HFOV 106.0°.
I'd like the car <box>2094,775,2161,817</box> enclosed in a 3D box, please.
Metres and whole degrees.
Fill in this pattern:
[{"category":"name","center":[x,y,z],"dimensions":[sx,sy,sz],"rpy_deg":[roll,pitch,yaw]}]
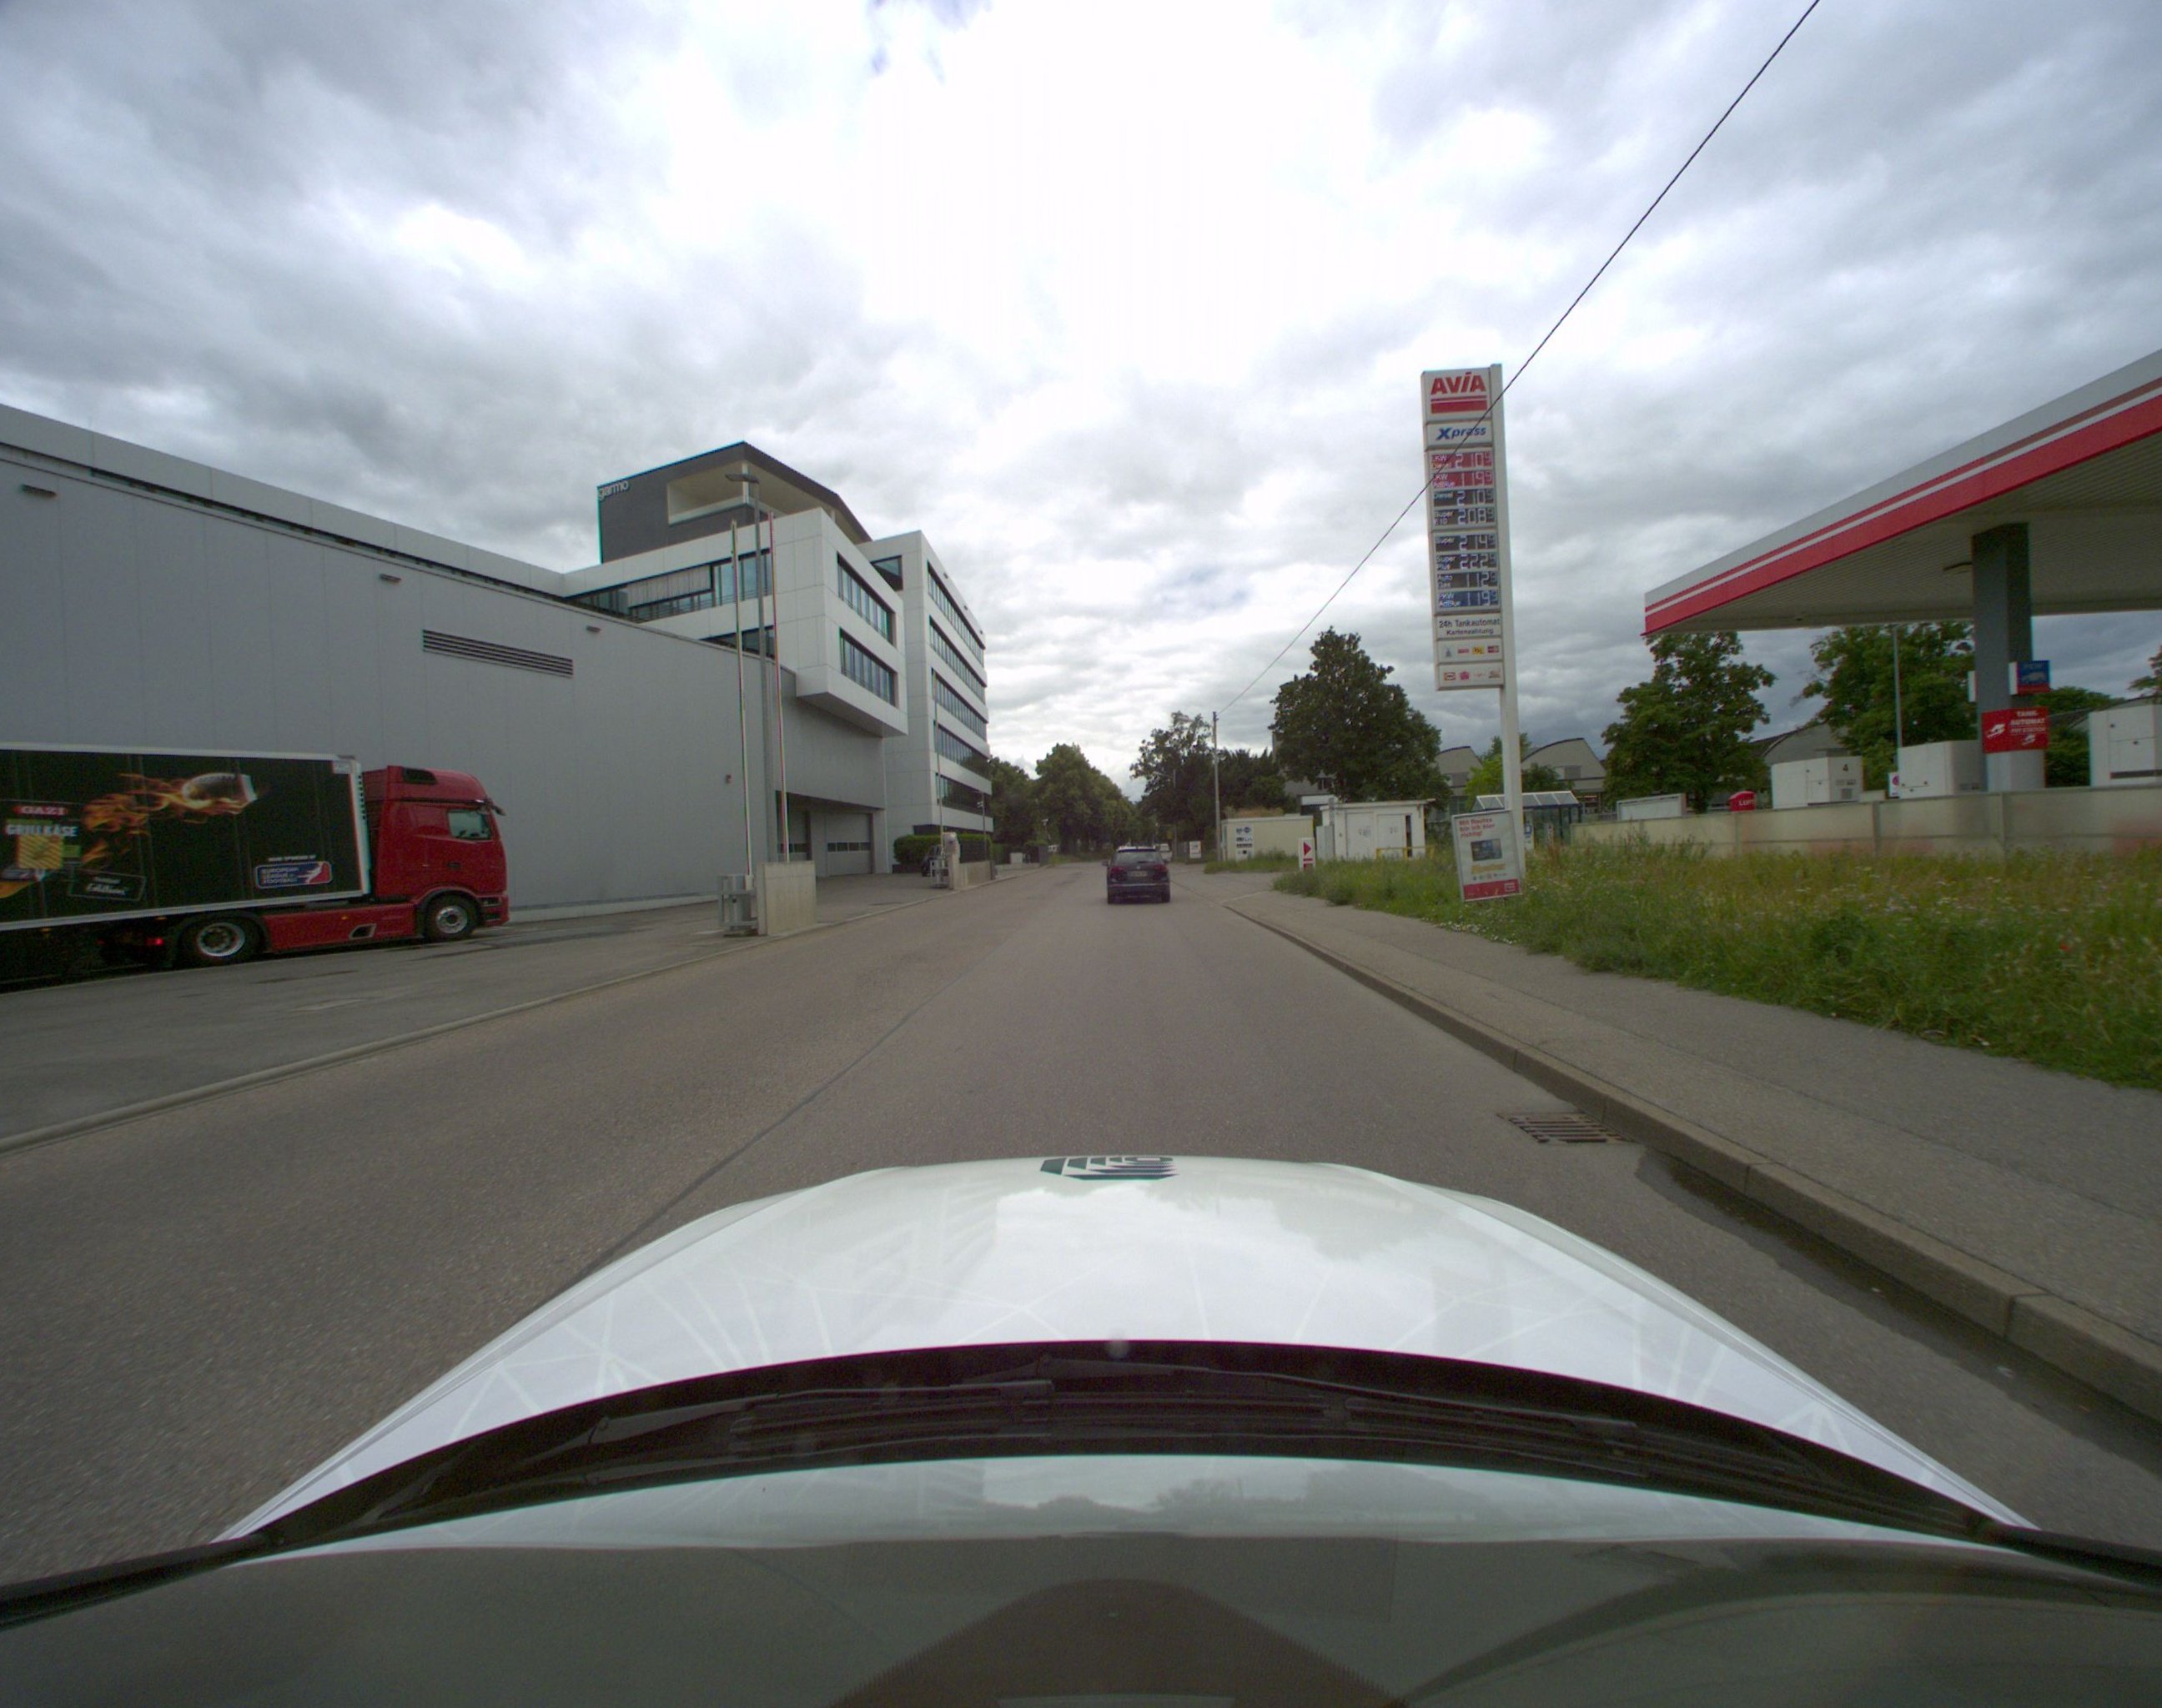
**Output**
[{"category":"car","center":[58.537,-3.191,44.382],"dimensions":[2.076,2.103,4.931],"rpy_deg":[-3,0,24]}]

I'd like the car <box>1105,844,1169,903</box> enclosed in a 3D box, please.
[{"category":"car","center":[1.699,0.550,24.338],"dimensions":[1.731,1.618,3.646],"rpy_deg":[-1,-1,5]}]

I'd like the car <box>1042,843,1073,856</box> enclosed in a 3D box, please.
[{"category":"car","center":[-4.859,-0.883,167.224],"dimensions":[6.042,2.387,2.398],"rpy_deg":[-3,0,4]}]

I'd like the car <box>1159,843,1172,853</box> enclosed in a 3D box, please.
[{"category":"car","center":[15.445,-1.148,148.592],"dimensions":[1.982,1.786,4.010],"rpy_deg":[-2,0,9]}]

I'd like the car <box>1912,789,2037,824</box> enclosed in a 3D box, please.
[{"category":"car","center":[50.270,-2.626,45.992],"dimensions":[1.955,1.645,4.655],"rpy_deg":[-3,0,2]}]

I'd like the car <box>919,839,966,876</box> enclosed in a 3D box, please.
[{"category":"car","center":[-7.007,0.176,41.529],"dimensions":[1.643,1.761,3.182],"rpy_deg":[-1,0,4]}]

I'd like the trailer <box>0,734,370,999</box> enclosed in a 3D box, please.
[{"category":"trailer","center":[-18.362,0.263,11.356],"dimensions":[2.718,4.030,12.688],"rpy_deg":[-2,1,23]}]

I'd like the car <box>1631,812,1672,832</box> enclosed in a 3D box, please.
[{"category":"car","center":[48.898,-2.734,69.860],"dimensions":[1.888,1.520,4.086],"rpy_deg":[-3,1,21]}]

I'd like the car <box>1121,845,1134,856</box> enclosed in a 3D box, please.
[{"category":"car","center":[7.825,-0.586,137.407],"dimensions":[1.798,1.764,4.214],"rpy_deg":[-1,0,7]}]

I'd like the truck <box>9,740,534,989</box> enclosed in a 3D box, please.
[{"category":"truck","center":[-15.978,0.124,16.980],"dimensions":[2.718,4.030,7.132],"rpy_deg":[-2,1,23]}]
